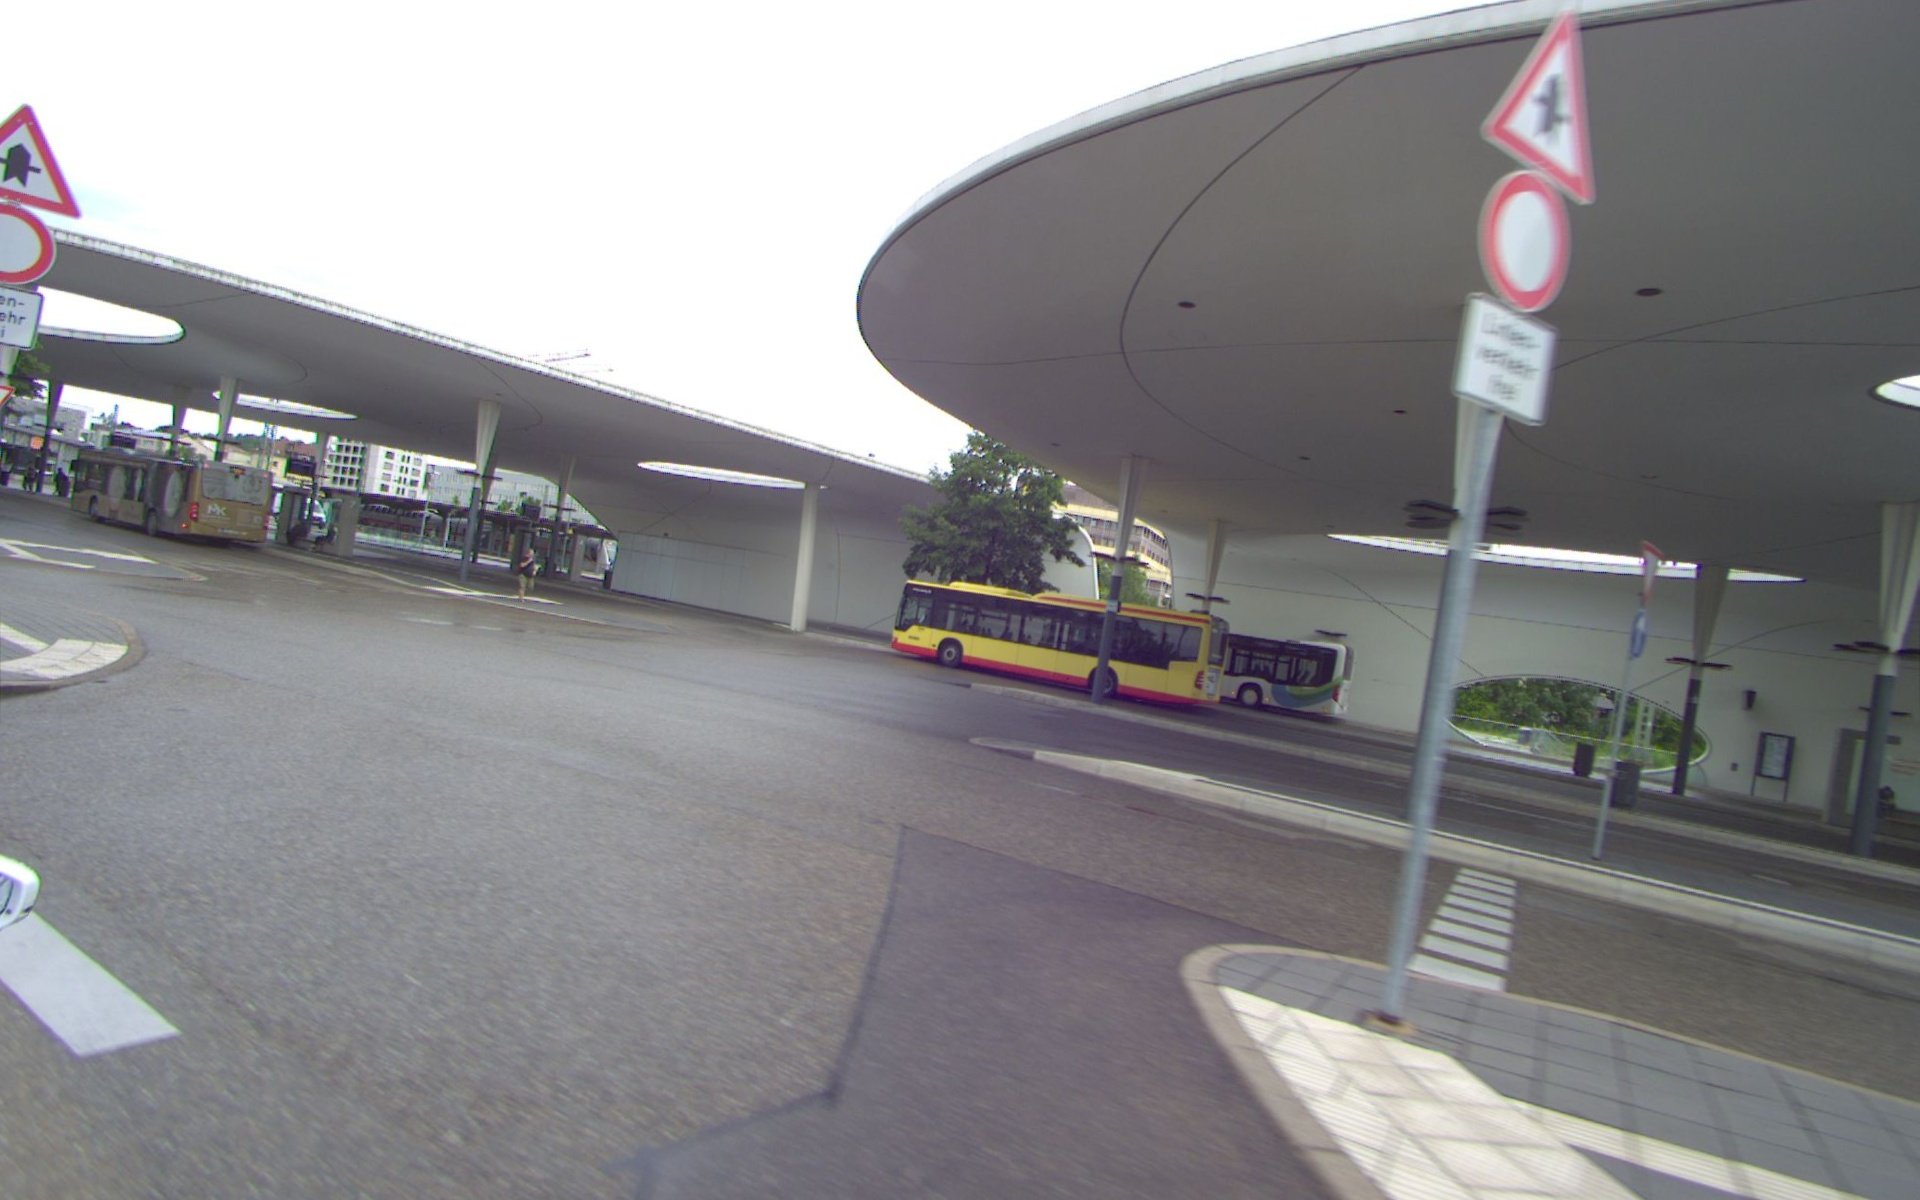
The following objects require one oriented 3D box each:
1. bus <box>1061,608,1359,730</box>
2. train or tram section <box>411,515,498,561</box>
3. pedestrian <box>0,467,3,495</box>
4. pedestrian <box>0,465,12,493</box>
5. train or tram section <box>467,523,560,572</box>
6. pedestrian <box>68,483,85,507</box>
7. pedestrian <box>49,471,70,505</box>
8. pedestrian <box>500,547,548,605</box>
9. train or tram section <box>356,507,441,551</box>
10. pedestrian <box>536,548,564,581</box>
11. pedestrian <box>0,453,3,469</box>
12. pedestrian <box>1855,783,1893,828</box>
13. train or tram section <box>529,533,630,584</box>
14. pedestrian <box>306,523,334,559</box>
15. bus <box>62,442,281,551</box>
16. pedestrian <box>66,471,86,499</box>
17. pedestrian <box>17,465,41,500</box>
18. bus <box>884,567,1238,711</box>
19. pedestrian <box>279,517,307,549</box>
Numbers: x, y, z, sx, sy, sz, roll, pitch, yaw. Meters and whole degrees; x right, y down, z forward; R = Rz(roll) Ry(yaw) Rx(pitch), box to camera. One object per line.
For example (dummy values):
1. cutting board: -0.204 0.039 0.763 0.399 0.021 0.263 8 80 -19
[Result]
1. bus: 10.242 2.744 42.476 11.772 3.297 2.469 8 0 32
2. train or tram section: -59.435 -7.287 118.101 11.421 3.697 3.143 8 -4 32
3. pedestrian: -50.277 -6.170 52.166 0.699 1.601 0.600 6 0 23
4. pedestrian: -59.028 -7.496 61.953 0.574 1.594 0.559 9 -5 -23
5. train or tram section: -49.839 -5.876 112.098 11.421 3.718 3.143 8 -4 32
6. pedestrian: -49.004 -5.818 55.782 0.455 1.265 0.558 9 0 -29
7. pedestrian: -53.574 -6.658 59.868 0.585 1.896 0.711 9 0 -29
8. pedestrian: -13.931 -0.757 32.158 1.002 1.705 0.719 7 2 6
9. train or tram section: -69.406 -8.783 124.282 12.117 3.697 3.143 8 -4 32
10. pedestrian: -22.138 -1.911 54.317 0.892 1.603 0.797 7 -2 26
11. pedestrian: -56.632 -7.631 58.708 0.719 2.033 0.665 10 -5 -32
12. pedestrian: 30.515 6.856 33.599 0.789 1.338 0.711 4 -6 35
13. train or tram section: -40.219 -4.444 106.133 11.421 3.715 3.143 8 -4 32
14. pedestrian: -26.897 -2.475 42.265 0.790 1.394 0.626 8 1 -41
15. bus: -31.335 -4.192 39.697 11.888 3.081 2.725 8 0 32
16. pedestrian: -50.001 -6.504 56.910 0.603 1.461 0.561 8 0 29
17. pedestrian: -49.105 -6.178 53.067 0.602 1.711 0.562 9 0 25
18. bus: 3.220 1.244 35.198 11.935 3.295 2.794 8 -1 30
19. pedestrian: -28.757 -2.869 43.367 0.790 1.241 0.626 8 0 -41
